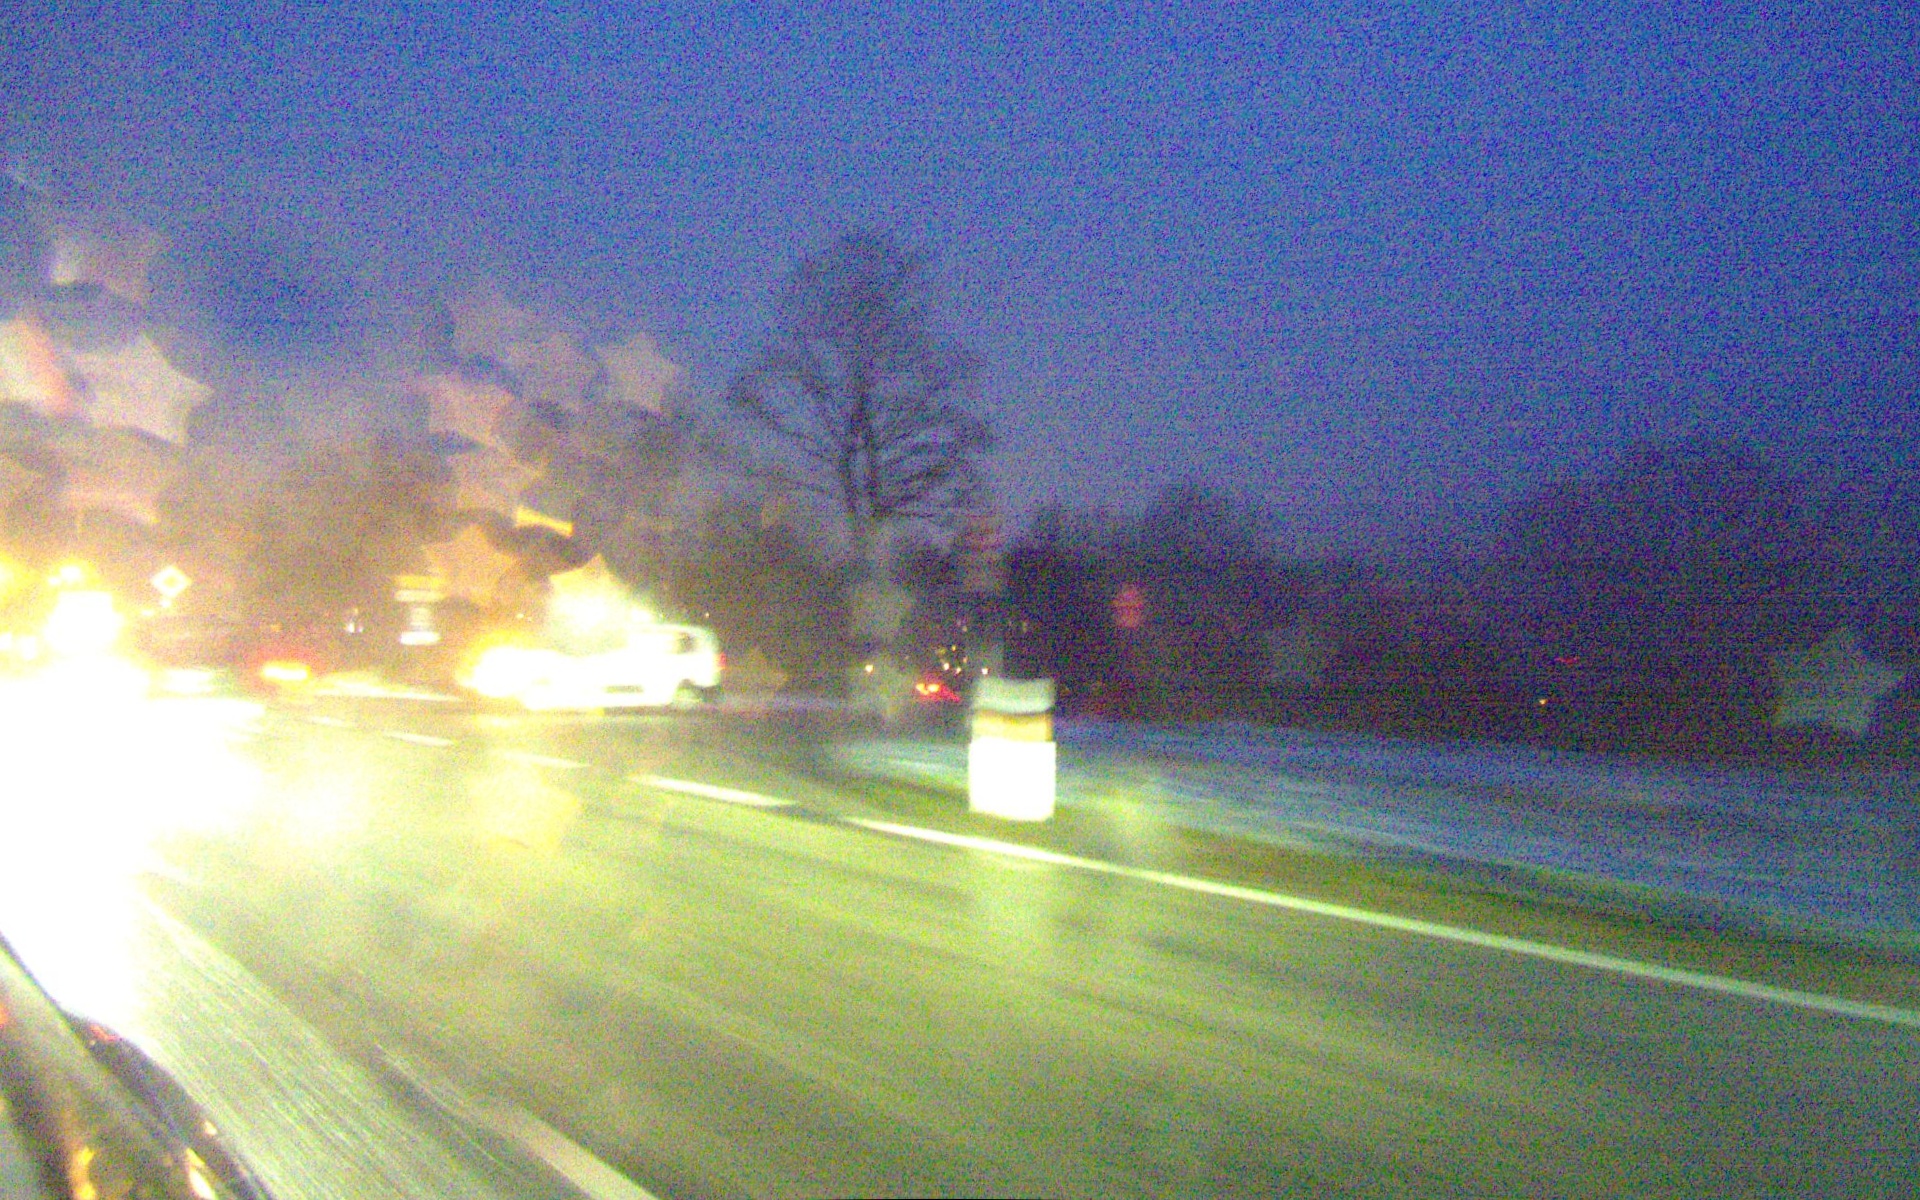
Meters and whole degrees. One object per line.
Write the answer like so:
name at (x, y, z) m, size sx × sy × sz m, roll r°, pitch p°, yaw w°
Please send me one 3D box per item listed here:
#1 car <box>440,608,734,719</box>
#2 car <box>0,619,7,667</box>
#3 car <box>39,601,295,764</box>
car at (-6.984, 1.228, 19.384) m, size 1.935 × 1.852 × 4.877 m, roll -2°, pitch -5°, yaw 45°
car at (-30.236, 1.269, 30.715) m, size 3.551 × 1.435 × 1.581 m, roll -1°, pitch -2°, yaw 42°
car at (-9.160, 0.860, 11.607) m, size 3.559 × 1.572 × 1.645 m, roll -2°, pitch -3°, yaw 41°
